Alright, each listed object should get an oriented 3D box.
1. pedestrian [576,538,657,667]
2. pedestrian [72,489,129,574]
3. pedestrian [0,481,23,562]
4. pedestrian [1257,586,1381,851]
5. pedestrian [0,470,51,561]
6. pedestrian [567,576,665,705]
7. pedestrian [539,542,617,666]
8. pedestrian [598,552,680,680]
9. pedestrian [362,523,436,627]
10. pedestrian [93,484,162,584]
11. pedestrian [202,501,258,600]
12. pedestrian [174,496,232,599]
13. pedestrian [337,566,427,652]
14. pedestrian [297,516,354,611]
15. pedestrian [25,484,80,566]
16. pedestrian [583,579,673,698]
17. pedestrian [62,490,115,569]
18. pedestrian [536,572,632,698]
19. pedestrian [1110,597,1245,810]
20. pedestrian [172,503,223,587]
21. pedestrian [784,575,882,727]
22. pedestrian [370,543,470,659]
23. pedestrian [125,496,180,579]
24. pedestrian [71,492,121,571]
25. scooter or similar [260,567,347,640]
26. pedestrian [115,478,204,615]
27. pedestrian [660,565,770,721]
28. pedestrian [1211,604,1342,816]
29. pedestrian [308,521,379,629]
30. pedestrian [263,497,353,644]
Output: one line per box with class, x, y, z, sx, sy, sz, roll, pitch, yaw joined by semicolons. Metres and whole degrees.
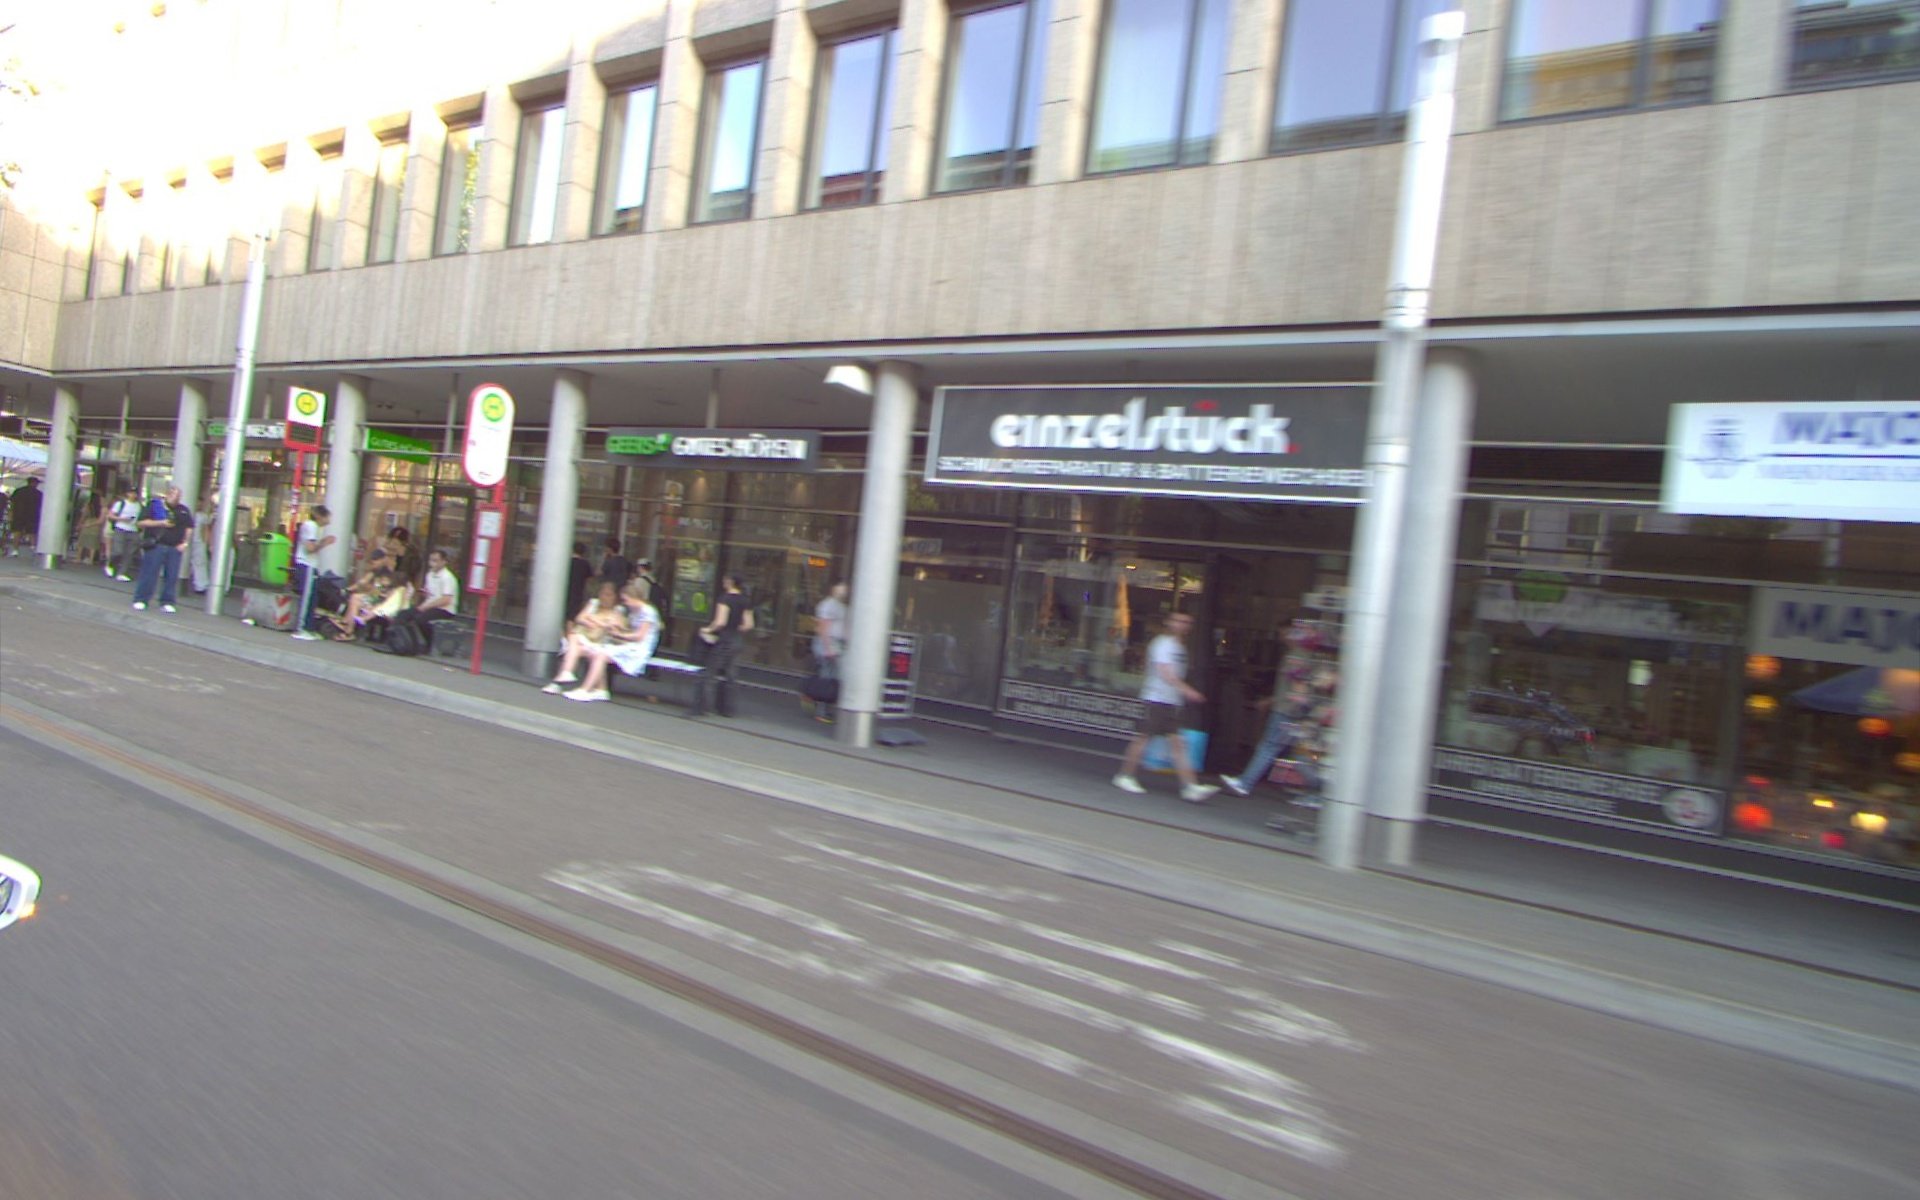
pedestrian;-5.387;0.049;15.777;0.760;1.906;0.688;7;1;29
pedestrian;-19.294;-1.532;22.588;0.707;1.809;0.663;6;1;31
pedestrian;-21.234;-1.757;22.012;0.908;1.740;0.764;6;0;32
pedestrian;2.882;0.920;8.056;0.644;1.968;0.579;6;1;30
pedestrian;-22.360;-2.007;23.989;0.769;2.039;0.687;7;1;31
pedestrian;-3.810;0.459;11.161;0.516;1.330;0.719;6;-1;32
pedestrian;-5.782;0.069;15.237;0.760;1.775;0.583;7;1;29
pedestrian;-4.455;0.235;13.979;0.669;1.682;0.648;7;1;32
pedestrian;-10.338;-0.459;18.544;0.761;1.794;0.774;6;0;29
pedestrian;-16.543;-1.300;19.986;0.865;1.862;0.669;6;1;30
pedestrian;-14.114;-0.950;19.460;0.594;1.829;0.540;7;1;29
pedestrian;-14.188;-0.981;18.865;0.594;1.829;0.540;7;1;29
pedestrian;-7.872;0.136;13.716;0.535;1.054;0.814;6;-1;32
pedestrian;-12.338;-0.711;19.558;0.607;1.753;0.571;7;1;29
pedestrian;-21.353;-1.758;23.677;0.707;1.809;0.663;6;1;31
pedestrian;-3.993;0.473;12.132;0.523;1.330;0.719;6;-1;32
pedestrian;-21.053;-1.695;24.301;0.707;1.809;0.663;6;1;31
pedestrian;-4.266;0.410;11.435;0.523;1.330;0.719;6;-1;32
pedestrian;2.056;0.948;9.478;0.844;1.820;0.845;6;0;31
pedestrian;-16.769;-1.206;22.133;0.607;1.753;0.571;7;1;29
pedestrian;-1.499;0.597;11.903;0.710;1.682;0.688;6;1;32
pedestrian;-7.128;0.024;13.300;0.651;1.397;0.814;6;-1;32
pedestrian;-18.723;-1.450;23.321;0.707;1.809;0.663;6;1;31
pedestrian;-21.395;-1.694;24.919;0.708;1.871;0.663;6;1;36
scooter or similar;-9.353;0.054;14.339;0.678;0.894;0.832;6;-3;44
pedestrian;-11.549;-0.758;14.517;0.696;1.862;0.669;6;1;30
pedestrian;-2.682;0.467;11.018;0.724;1.589;0.725;6;1;32
pedestrian;3.138;1.056;9.959;0.884;1.913;0.845;6;1;31
pedestrian;-10.183;-0.404;16.624;0.639;1.682;0.649;7;1;31
pedestrian;-8.696;-0.386;13.424;0.657;1.862;0.640;7;1;31
